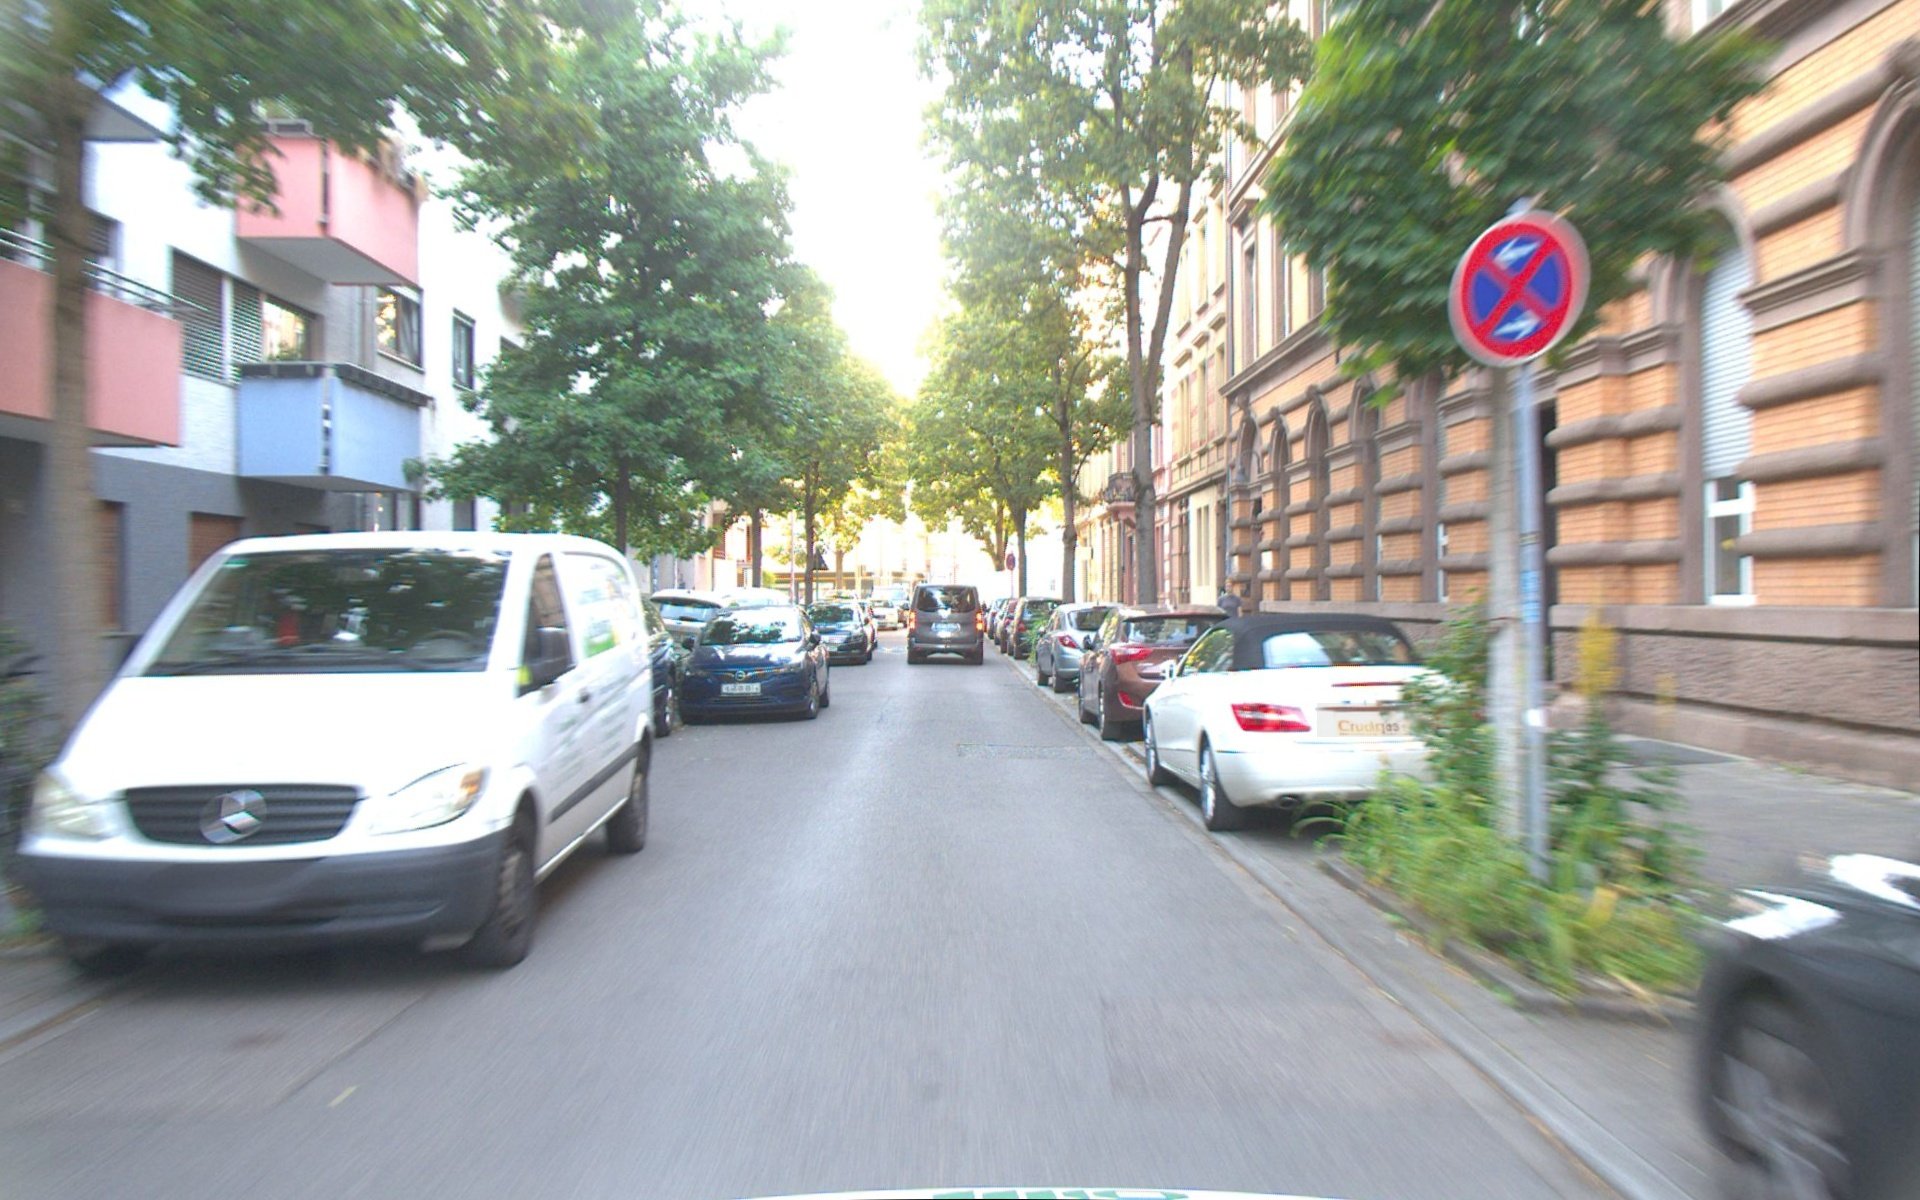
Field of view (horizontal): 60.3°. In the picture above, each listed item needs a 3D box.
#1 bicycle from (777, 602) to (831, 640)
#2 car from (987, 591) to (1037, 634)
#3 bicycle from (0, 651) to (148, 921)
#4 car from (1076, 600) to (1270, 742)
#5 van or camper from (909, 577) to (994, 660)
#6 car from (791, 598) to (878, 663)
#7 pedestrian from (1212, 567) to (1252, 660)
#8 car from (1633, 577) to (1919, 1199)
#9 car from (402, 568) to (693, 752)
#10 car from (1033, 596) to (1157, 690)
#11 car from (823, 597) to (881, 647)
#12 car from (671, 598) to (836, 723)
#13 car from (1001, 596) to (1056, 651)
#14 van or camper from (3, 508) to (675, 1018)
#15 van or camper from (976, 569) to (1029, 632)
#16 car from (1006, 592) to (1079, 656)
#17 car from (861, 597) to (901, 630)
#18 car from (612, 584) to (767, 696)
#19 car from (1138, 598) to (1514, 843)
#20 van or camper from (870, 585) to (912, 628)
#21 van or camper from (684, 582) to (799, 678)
[{"bbox_3d":[-5.196,0.701,55.256,0.595,1.216,1.816,3,1,44],"label":"bicycle"},{"bbox_3d":[1.869,0.442,60.528,1.714,1.497,3.775,0,0,0],"label":"car"},{"bbox_3d":[-4.750,0.859,7.491,0.686,1.184,1.813,0,0,41],"label":"bicycle"},{"bbox_3d":[2.403,0.760,19.596,1.687,1.475,4.214,-1,0,-1],"label":"car"},{"bbox_3d":[-0.153,0.426,40.902,1.993,1.931,4.271,0,0,1],"label":"van or camper"},{"bbox_3d":[-3.026,0.712,40.717,1.809,1.477,4.502,1,0,0],"label":"car"},{"bbox_3d":[4.947,0.238,30.107,0.614,1.677,0.532,1,0,0],"label":"pedestrian"},{"bbox_3d":[2.625,0.716,2.199,1.677,1.503,4.191,0,0,-1],"label":"car"},{"bbox_3d":[-4.271,0.558,18.015,1.953,1.675,4.921,2,0,-1],"label":"car"},{"bbox_3d":[2.330,0.709,29.501,1.663,1.508,3.998,-2,0,-3],"label":"car"},{"bbox_3d":[-3.247,0.641,50.152,1.597,1.455,3.541,-1,0,-2],"label":"car"},{"bbox_3d":[-2.715,0.752,22.702,1.793,1.544,4.515,0,0,-1],"label":"car"},{"bbox_3d":[1.961,0.648,47.801,1.518,1.523,3.611,1,0,2],"label":"car"},{"bbox_3d":[-2.711,0.584,8.533,1.839,1.875,4.751,0,0,-2],"label":"van or camper"},{"bbox_3d":[1.786,0.019,71.509,1.953,2.644,5.422,0,0,-2],"label":"van or camper"},{"bbox_3d":[2.125,0.602,43.505,1.579,1.586,3.764,-1,0,-2],"label":"car"},{"bbox_3d":[-3.591,0.596,75.307,1.706,1.429,3.374,-1,0,-1],"label":"car"},{"bbox_3d":[-4.646,0.637,29.074,1.993,1.701,4.646,3,0,-2],"label":"car"},{"bbox_3d":[2.451,0.720,12.261,1.659,1.426,4.645,-1,0,-1],"label":"car"},{"bbox_3d":[-3.329,0.280,80.414,1.824,2.018,4.271,-1,0,1],"label":"van or camper"},{"bbox_3d":[-4.536,0.574,34.993,1.892,1.790,4.464,3,0,-2],"label":"van or camper"}]
